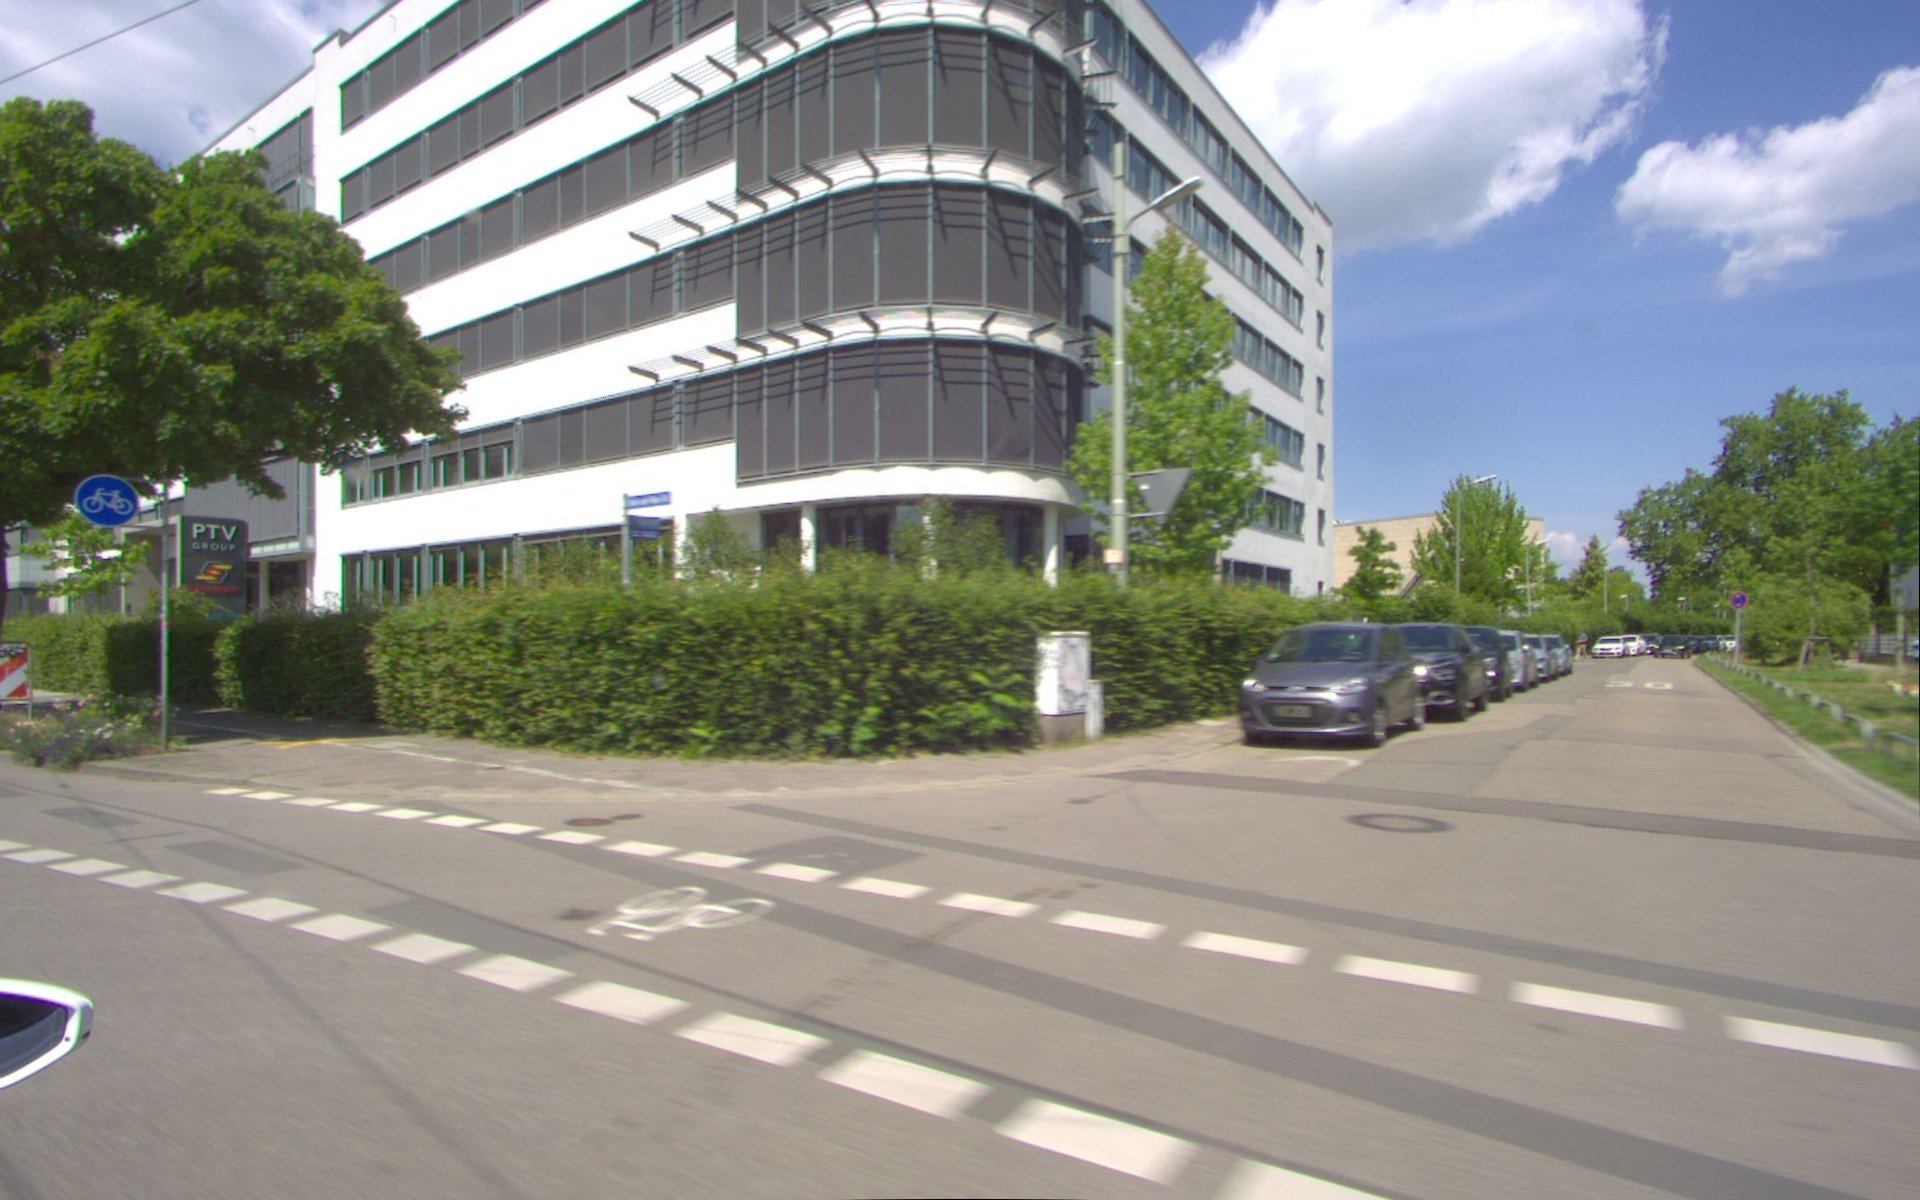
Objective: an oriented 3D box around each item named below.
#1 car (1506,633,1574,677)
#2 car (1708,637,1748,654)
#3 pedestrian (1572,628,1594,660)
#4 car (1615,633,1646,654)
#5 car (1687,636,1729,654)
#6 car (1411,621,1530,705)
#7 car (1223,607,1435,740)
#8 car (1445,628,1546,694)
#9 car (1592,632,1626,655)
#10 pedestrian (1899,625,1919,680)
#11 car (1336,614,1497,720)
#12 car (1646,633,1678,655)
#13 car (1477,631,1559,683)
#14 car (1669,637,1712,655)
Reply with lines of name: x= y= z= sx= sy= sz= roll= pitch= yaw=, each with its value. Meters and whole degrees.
car: x=20.627 y=1.937 z=35.536 sx=1.735 sy=1.462 sz=3.977 roll=-1 pitch=-3 yaw=35
car: x=67.437 y=3.971 z=87.923 sx=3.950 sy=1.462 sz=1.747 roll=2 pitch=-3 yaw=-36
pedestrian: x=35.313 y=2.487 z=56.739 sx=0.990 sy=1.738 sz=0.785 roll=-1 pitch=-3 yaw=37
car: x=48.840 y=3.144 z=72.926 sx=1.735 sy=1.462 sz=3.977 roll=-1 pitch=-3 yaw=35
car: x=63.802 y=3.853 z=85.362 sx=3.950 sy=1.462 sz=1.747 roll=2 pitch=-3 yaw=-36
car: x=11.034 y=1.303 z=21.514 sx=1.735 sy=1.626 sz=3.977 roll=-1 pitch=-3 yaw=35
car: x=4.931 y=0.883 z=13.108 sx=1.735 sy=1.470 sz=3.591 roll=-1 pitch=-2 yaw=35
car: x=13.411 y=1.479 z=24.983 sx=1.735 sy=1.518 sz=3.977 roll=-1 pitch=-3 yaw=35
car: x=44.149 y=2.951 z=68.103 sx=1.735 sy=1.462 sz=3.977 roll=-1 pitch=-3 yaw=35
pedestrian: x=29.689 y=1.630 z=30.916 sx=0.778 sy=1.680 sz=0.999 roll=0 pitch=-3 yaw=30
car: x=7.690 y=1.052 z=16.684 sx=1.735 sy=1.543 sz=3.976 roll=-1 pitch=-2 yaw=35
car: x=47.827 y=2.988 z=68.236 sx=1.735 sy=1.462 sz=3.977 roll=-1 pitch=-3 yaw=35
car: x=16.892 y=1.696 z=30.217 sx=1.735 sy=1.462 sz=3.977 roll=-1 pitch=-3 yaw=35
car: x=60.404 y=3.814 z=82.809 sx=3.950 sy=1.462 sz=1.747 roll=2 pitch=-3 yaw=-36
